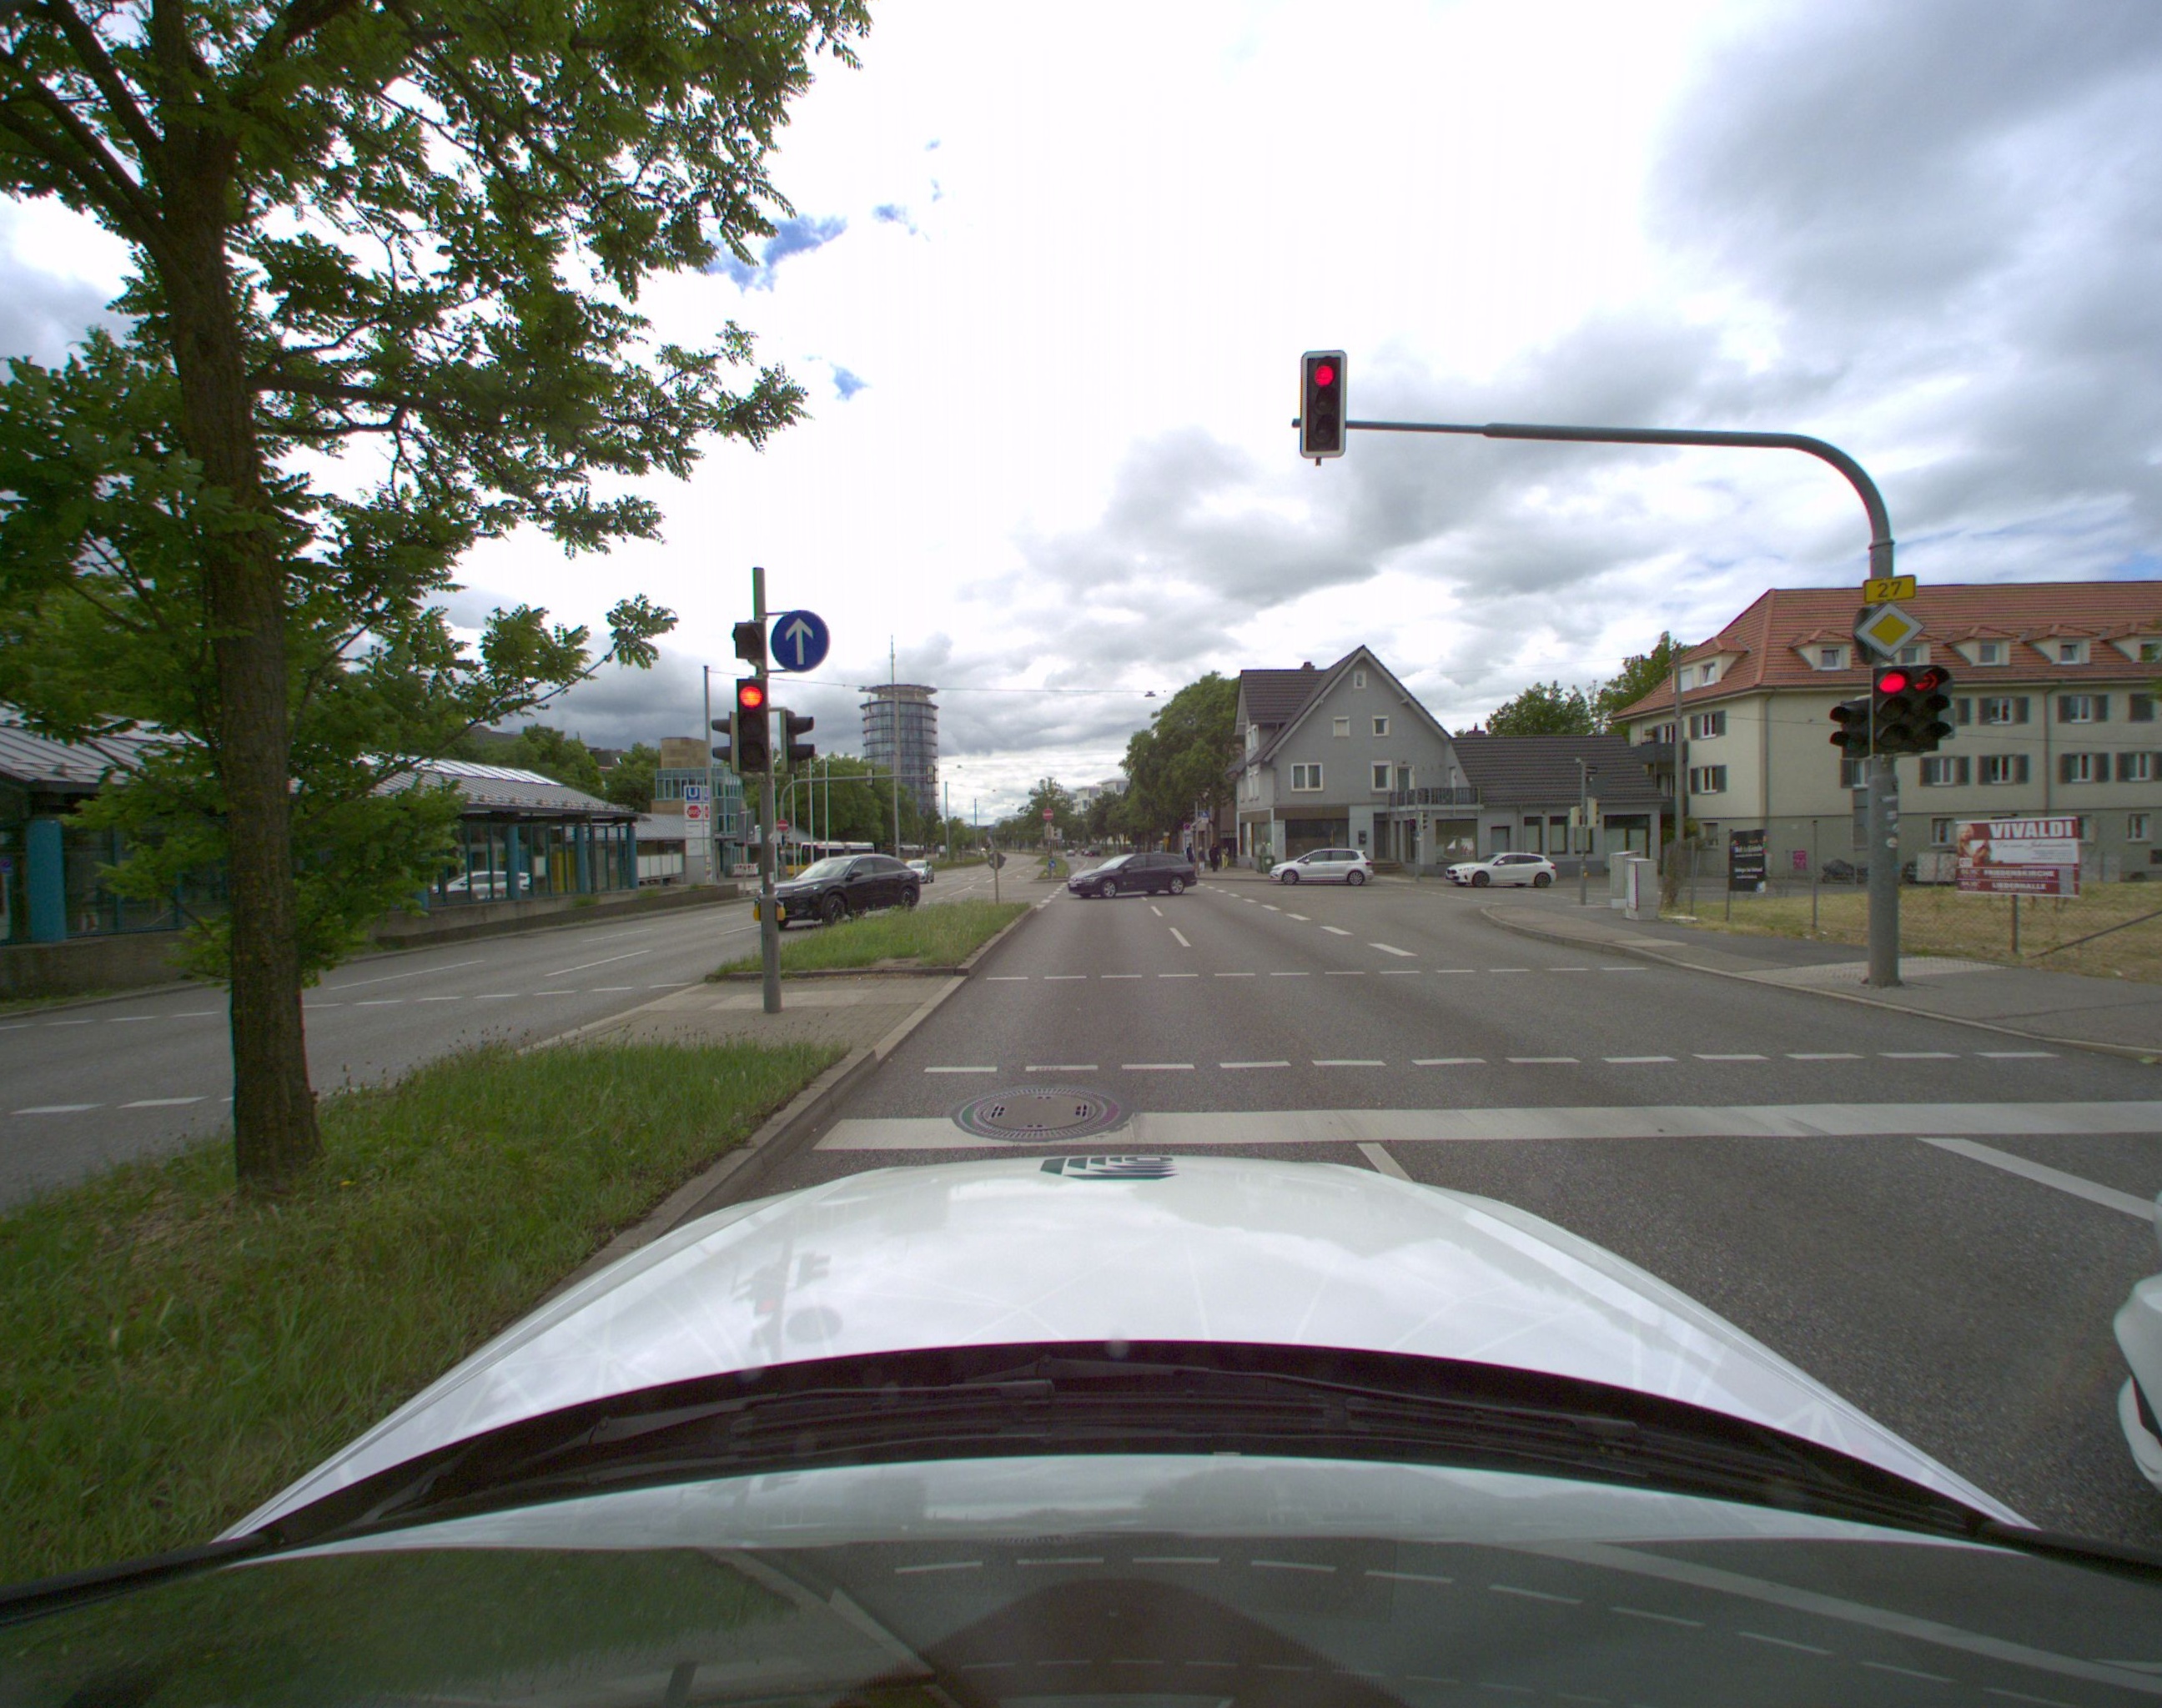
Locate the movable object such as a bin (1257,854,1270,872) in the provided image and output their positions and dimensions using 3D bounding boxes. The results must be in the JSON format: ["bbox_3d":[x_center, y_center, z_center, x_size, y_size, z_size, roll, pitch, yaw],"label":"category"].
[{"bbox_3d":[10.040,0.479,44.745,0.527,0.979,0.737,-2,0,2],"label":"movable object such as a bin"}]

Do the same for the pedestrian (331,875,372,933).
[{"bbox_3d":[-22.819,1.556,25.490,0.755,1.762,0.528,-2,0,-15],"label":"pedestrian"}]

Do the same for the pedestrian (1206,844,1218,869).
[{"bbox_3d":[8.909,0.185,55.367,0.701,1.662,0.872,-2,0,8],"label":"pedestrian"}]

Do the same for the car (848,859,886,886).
[{"bbox_3d":[-13.491,1.149,51.530,1.681,1.578,3.344,-2,0,-4],"label":"car"}]

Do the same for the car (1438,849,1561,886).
[{"bbox_3d":[17.730,0.543,34.592,4.232,1.477,1.998,0,0,-3],"label":"car"}]

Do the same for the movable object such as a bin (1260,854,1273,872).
[{"bbox_3d":[10.033,0.478,43.954,0.527,0.979,0.737,-2,0,2],"label":"movable object such as a bin"}]

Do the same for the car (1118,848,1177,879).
[{"bbox_3d":[3.455,0.488,43.142,1.892,1.494,4.079,-2,0,-14],"label":"car"}]

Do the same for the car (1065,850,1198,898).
[{"bbox_3d":[1.746,0.634,27.826,4.298,1.481,1.700,-1,1,-28],"label":"car"}]

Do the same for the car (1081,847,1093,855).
[{"bbox_3d":[1.290,-0.542,174.103,2.246,1.647,4.927,-2,0,-3],"label":"car"}]

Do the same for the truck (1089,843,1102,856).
[{"bbox_3d":[2.756,-0.804,156.668,2.246,2.416,4.928,-1,0,-3],"label":"truck"}]

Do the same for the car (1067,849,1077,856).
[{"bbox_3d":[-1.910,-0.340,173.469,1.963,1.420,4.017,-2,0,-3],"label":"car"}]

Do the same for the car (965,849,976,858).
[{"bbox_3d":[-27.259,-0.155,201.214,1.958,2.014,4.001,0,-1,2],"label":"car"}]

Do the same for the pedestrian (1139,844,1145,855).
[{"bbox_3d":[11.317,-0.780,150.911,0.967,2.014,0.981,0,-1,1],"label":"pedestrian"}]

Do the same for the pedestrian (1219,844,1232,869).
[{"bbox_3d":[9.741,0.186,55.027,0.699,1.662,0.874,-2,0,17],"label":"pedestrian"}]

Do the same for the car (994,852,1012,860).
[{"bbox_3d":[-15.686,0.488,163.777,1.717,1.492,3.519,-2,0,-42],"label":"car"}]

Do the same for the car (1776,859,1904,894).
[{"bbox_3d":[34.044,0.985,36.613,3.972,1.537,1.871,0,0,2],"label":"car"}]

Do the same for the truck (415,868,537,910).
[{"bbox_3d":[-25.574,1.435,34.620,4.016,1.517,1.979,-2,0,-34],"label":"truck"}]

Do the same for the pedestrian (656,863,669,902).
[{"bbox_3d":[-17.335,1.173,33.720,0.420,1.591,0.353,-2,0,-28],"label":"pedestrian"}]

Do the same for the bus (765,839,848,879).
[{"bbox_3d":[-24.322,0.407,72.864,2.975,3.250,10.186,-2,0,6],"label":"bus"}]

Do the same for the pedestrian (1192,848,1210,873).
[{"bbox_3d":[7.296,0.396,49.645,0.866,1.507,0.706,-2,0,-7],"label":"pedestrian"}]

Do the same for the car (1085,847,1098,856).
[{"bbox_3d":[2.098,-0.459,165.281,2.246,1.757,4.928,-2,0,-3],"label":"car"}]

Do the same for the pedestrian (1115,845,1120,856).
[{"bbox_3d":[8.133,-0.714,179.469,0.930,2.308,1.008,0,-1,-8],"label":"pedestrian"}]

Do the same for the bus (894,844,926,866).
[{"bbox_3d":[-26.036,0.133,124.323,3.134,3.225,7.765,-2,0,0],"label":"bus"}]

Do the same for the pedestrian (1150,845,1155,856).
[{"bbox_3d":[11.033,-0.564,125.622,0.649,1.570,0.669,-2,0,-6],"label":"pedestrian"}]

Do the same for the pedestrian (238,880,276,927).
[{"bbox_3d":[-28.179,1.701,27.862,0.631,1.571,0.663,0,-1,7],"label":"pedestrian"}]

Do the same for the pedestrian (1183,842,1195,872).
[{"bbox_3d":[6.711,0.177,50.504,0.701,1.780,0.872,-2,0,7],"label":"pedestrian"}]

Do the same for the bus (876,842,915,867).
[{"bbox_3d":[-26.094,0.106,115.314,3.135,3.225,10.282,-2,0,0],"label":"bus"}]

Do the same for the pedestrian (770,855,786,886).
[{"bbox_3d":[-18.909,1.050,50.852,0.658,1.897,0.686,-2,0,1],"label":"pedestrian"}]

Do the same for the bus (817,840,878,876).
[{"bbox_3d":[-23.350,0.375,81.864,2.975,3.270,7.889,-2,0,6],"label":"bus"}]

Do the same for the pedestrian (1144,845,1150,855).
[{"bbox_3d":[10.199,-0.590,125.783,0.649,1.570,0.669,-2,0,-6],"label":"pedestrian"}]

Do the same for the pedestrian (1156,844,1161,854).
[{"bbox_3d":[12.022,-0.795,125.783,0.649,1.570,0.669,-2,0,-6],"label":"pedestrian"}]

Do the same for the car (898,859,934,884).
[{"bbox_3d":[-10.338,1.057,51.319,1.680,1.462,3.552,-2,0,-3],"label":"car"}]

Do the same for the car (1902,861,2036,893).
[{"bbox_3d":[39.813,1.023,36.575,3.972,1.377,1.871,0,0,2],"label":"car"}]

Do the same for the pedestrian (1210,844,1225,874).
[{"bbox_3d":[8.190,0.271,48.807,0.702,1.760,1.053,-2,0,3],"label":"pedestrian"}]

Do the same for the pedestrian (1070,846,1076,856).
[{"bbox_3d":[-2.048,-0.788,199.052,1.231,2.402,1.306,-2,0,-8],"label":"pedestrian"}]

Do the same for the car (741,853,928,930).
[{"bbox_3d":[-5.570,0.792,18.935,1.818,1.521,4.096,-1,0,26],"label":"car"}]

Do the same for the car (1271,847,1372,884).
[{"bbox_3d":[10.244,0.466,34.965,4.073,1.540,1.835,0,0,12],"label":"car"}]
